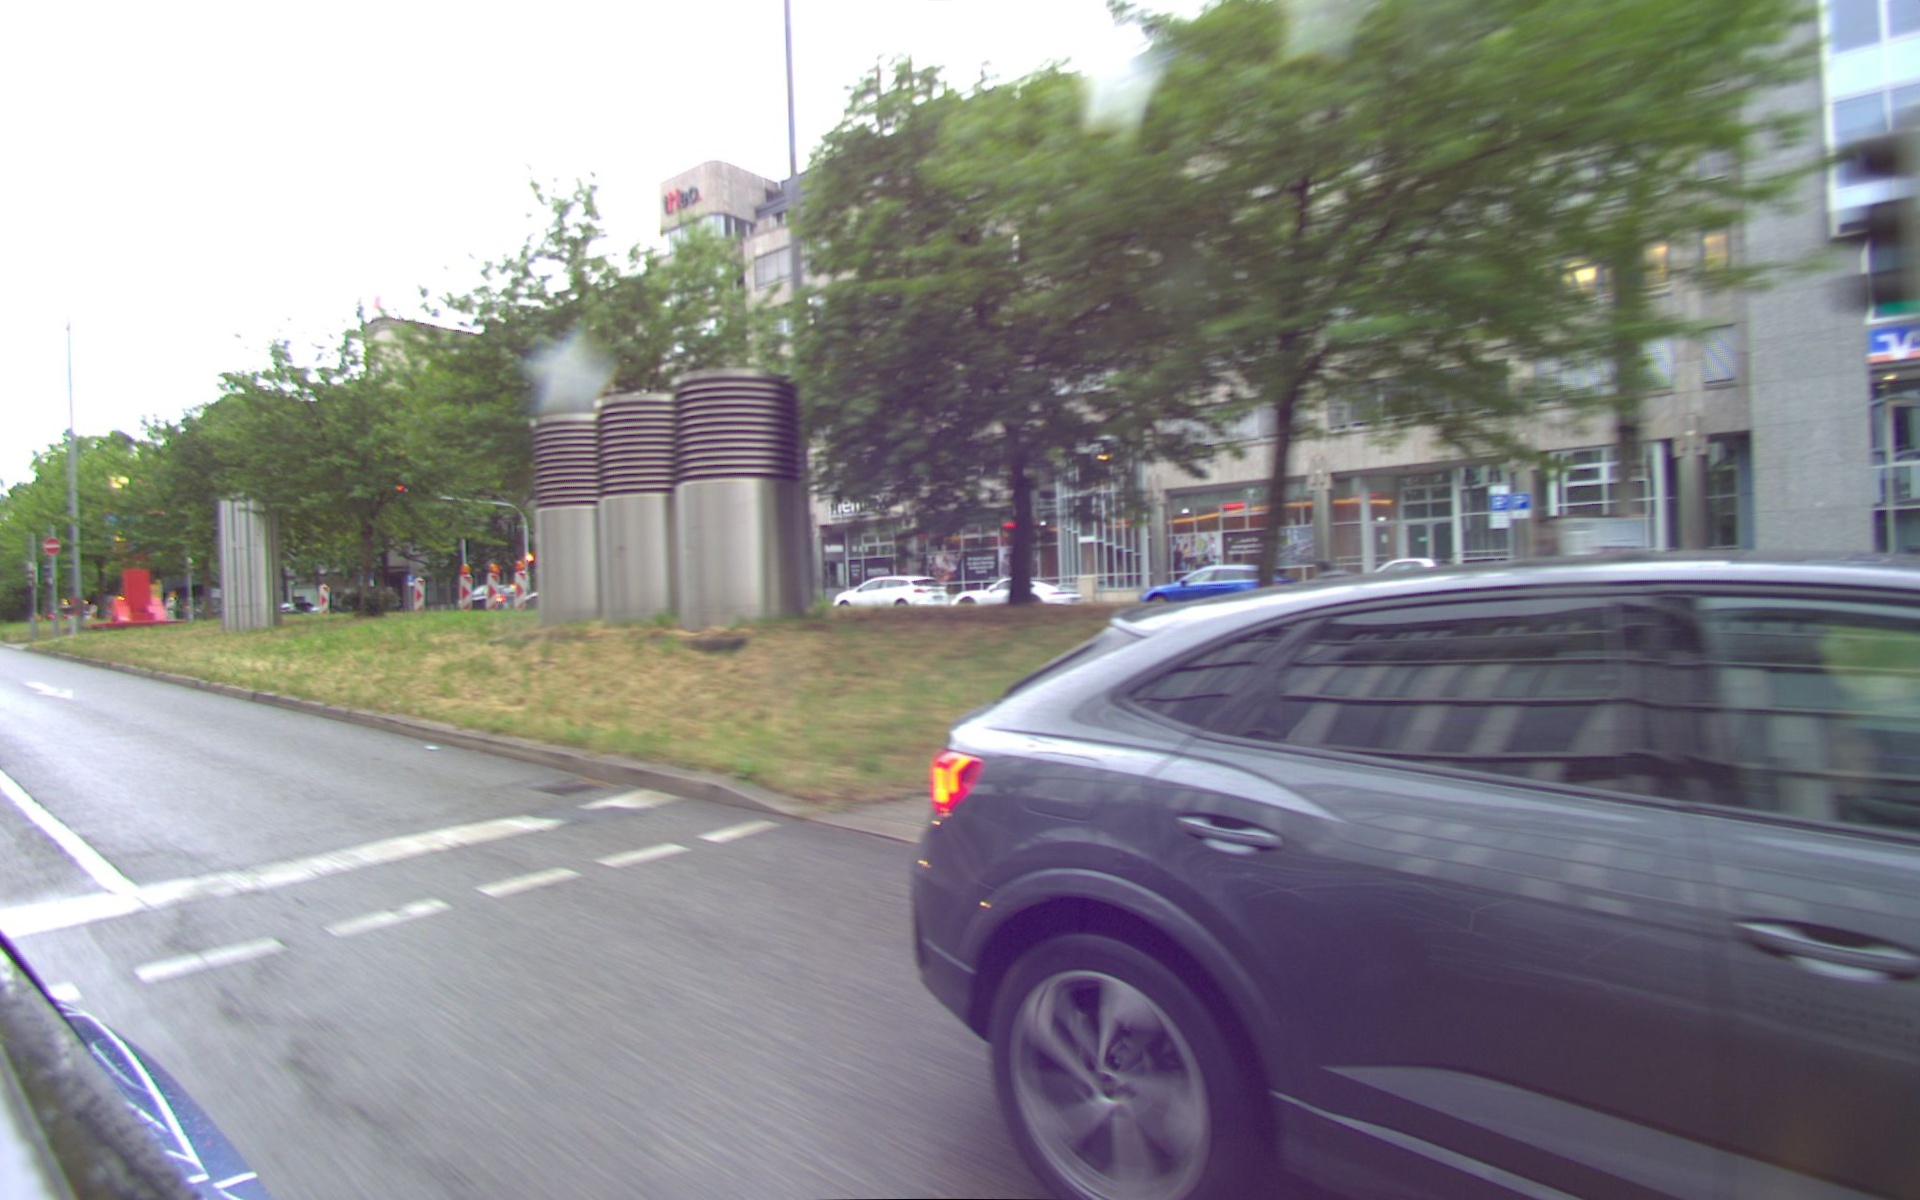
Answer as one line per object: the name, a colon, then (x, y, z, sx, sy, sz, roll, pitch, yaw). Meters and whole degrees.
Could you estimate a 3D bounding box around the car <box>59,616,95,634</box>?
car: (-86.790, 2.407, 99.477, 4.105, 1.599, 2.046, -1, 2, 40)

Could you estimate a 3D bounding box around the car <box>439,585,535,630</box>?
car: (-18.617, 0.285, 39.767, 4.105, 1.592, 1.856, -1, 2, 40)

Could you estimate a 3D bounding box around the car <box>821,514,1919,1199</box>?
car: (1.865, 0.633, 2.064, 4.342, 1.529, 1.842, -1, 0, 41)

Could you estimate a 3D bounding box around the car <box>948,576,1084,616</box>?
car: (1.745, -0.114, 32.183, 4.099, 1.130, 1.557, -1, 2, 36)

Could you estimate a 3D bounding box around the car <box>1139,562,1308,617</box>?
car: (7.398, -0.286, 28.591, 4.312, 1.395, 1.661, -1, 2, 36)

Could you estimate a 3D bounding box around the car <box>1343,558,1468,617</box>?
car: (11.235, -0.304, 25.565, 2.625, 1.395, 1.228, -1, 2, 40)

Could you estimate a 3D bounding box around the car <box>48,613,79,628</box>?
car: (-100.933, 2.304, 113.920, 4.105, 1.599, 2.046, -1, 2, 40)

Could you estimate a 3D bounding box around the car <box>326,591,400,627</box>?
car: (-29.461, 0.439, 49.904, 4.105, 1.592, 1.856, -1, 2, 40)

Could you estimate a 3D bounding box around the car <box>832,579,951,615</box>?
car: (-2.432, -0.098, 35.551, 4.099, 1.130, 1.557, -1, 2, 36)
